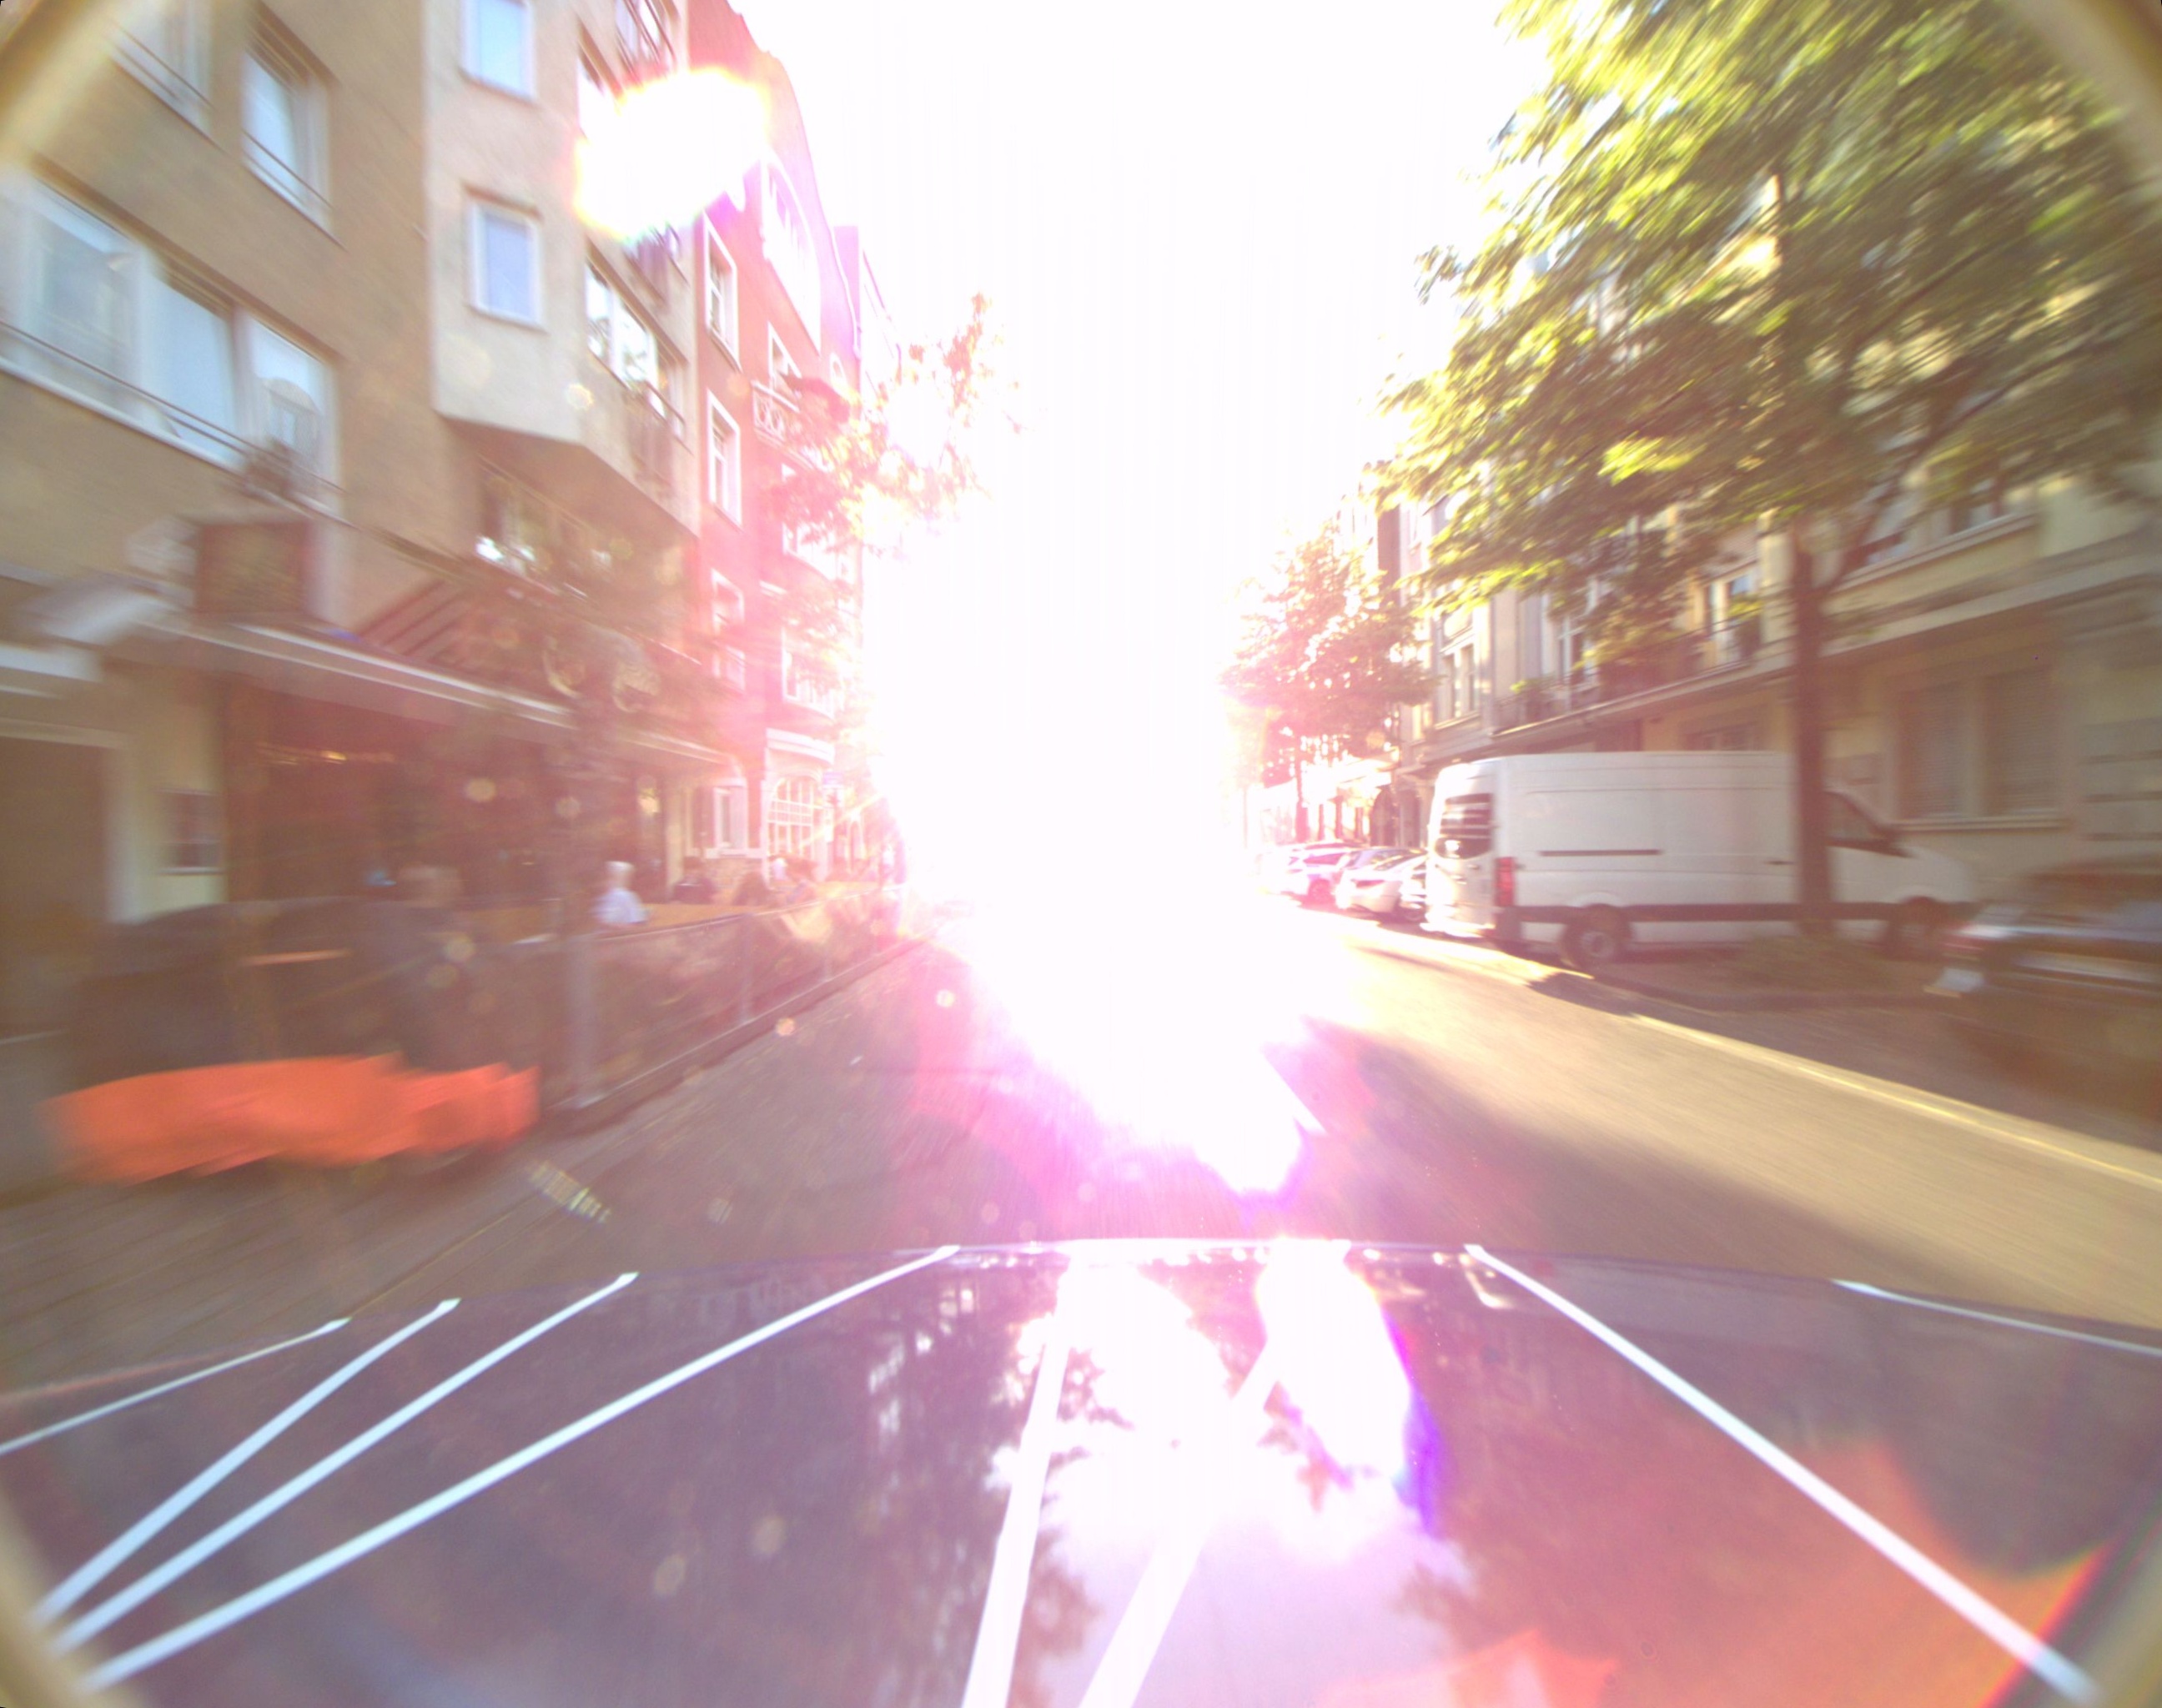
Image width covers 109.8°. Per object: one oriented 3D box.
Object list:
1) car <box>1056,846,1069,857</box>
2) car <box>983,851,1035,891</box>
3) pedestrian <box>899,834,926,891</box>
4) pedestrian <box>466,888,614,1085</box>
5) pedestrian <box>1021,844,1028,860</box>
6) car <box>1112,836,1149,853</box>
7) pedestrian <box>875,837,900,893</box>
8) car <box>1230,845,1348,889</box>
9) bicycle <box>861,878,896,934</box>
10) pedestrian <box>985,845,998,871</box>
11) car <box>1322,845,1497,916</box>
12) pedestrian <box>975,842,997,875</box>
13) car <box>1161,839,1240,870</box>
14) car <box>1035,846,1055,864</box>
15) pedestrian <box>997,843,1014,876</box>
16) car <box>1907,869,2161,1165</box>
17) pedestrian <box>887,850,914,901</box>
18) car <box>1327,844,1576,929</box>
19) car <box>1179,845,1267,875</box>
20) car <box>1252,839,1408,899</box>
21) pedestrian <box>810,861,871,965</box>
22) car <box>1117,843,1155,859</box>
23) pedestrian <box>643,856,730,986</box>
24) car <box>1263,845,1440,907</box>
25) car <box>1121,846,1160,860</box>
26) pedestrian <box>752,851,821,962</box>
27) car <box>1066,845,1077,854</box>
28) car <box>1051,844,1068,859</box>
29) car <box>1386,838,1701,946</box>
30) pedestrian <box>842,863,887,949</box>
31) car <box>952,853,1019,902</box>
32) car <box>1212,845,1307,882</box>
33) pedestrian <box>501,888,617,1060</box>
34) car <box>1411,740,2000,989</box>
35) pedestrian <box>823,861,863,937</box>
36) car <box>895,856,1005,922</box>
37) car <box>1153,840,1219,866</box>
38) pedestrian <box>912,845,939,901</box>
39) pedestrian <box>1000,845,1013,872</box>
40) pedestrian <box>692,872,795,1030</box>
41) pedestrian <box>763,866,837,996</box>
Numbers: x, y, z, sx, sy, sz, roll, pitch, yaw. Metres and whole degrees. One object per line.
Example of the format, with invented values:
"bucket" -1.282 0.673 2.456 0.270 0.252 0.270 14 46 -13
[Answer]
"car" -2.831 -0.388 117.947 1.759 1.639 3.793 3 1 0
"car" -2.972 0.654 32.187 1.727 1.484 4.751 2 1 0
"pedestrian" -5.603 0.281 25.310 0.627 1.857 0.976 2 1 0
"pedestrian" -3.684 0.871 5.214 0.579 1.237 0.603 1 1 1
"pedestrian" -5.978 -0.257 80.287 0.599 1.653 0.603 1 2 6
"car" 6.939 -1.342 106.104 4.782 2.344 2.152 -1 1 -27
"pedestrian" -6.427 0.349 25.250 0.590 1.799 0.835 2 1 0
"car" 7.786 0.464 28.678 3.926 1.440 1.696 -3 1 -2
"bicycle" -3.993 0.995 15.081 0.386 0.978 1.710 -1 1 -6
"pedestrian" -5.999 0.250 50.815 0.756 1.748 0.812 -1 1 0
"car" 7.786 0.595 18.279 3.415 1.501 1.847 -2 1 4
"pedestrian" -5.271 0.250 42.232 1.049 1.775 0.945 2 1 1
"car" 7.656 0.012 49.034 4.718 1.800 2.053 -2 1 1
"car" -3.499 0.065 74.642 1.759 1.639 3.793 3 1 0
"pedestrian" -4.201 0.307 42.237 0.731 1.775 0.870 3 1 1
"car" 7.432 0.807 4.105 3.997 1.396 1.749 -2 2 1
"pedestrian" -5.328 0.635 22.405 0.626 1.480 0.640 1 1 1
"car" 7.494 0.628 15.671 4.223 1.497 1.793 -2 1 0
"car" 7.637 0.325 41.112 4.393 1.415 1.822 -2 1 0
"car" 7.793 0.439 24.012 4.242 1.641 1.892 -2 1 -4
"pedestrian" -3.601 0.860 11.426 0.633 1.476 0.795 1 1 1
"car" 6.949 -0.355 95.994 4.579 1.922 1.896 -1 1 -37
"pedestrian" -4.414 0.727 8.538 0.579 1.377 0.718 1 1 1
"car" 7.430 0.582 21.187 4.197 1.474 1.970 -2 1 0
"car" 7.002 -0.108 89.171 4.579 1.548 1.809 -1 1 -37
"pedestrian" -4.399 0.756 11.396 0.709 1.589 0.795 1 1 1
"car" -1.698 -0.860 138.872 1.804 1.570 4.402 1 1 1
"car" -2.940 -0.381 105.506 1.867 1.900 4.256 3 1 3
"car" 7.800 0.606 13.169 4.223 1.591 1.975 -2 1 2
"pedestrian" -3.780 0.891 13.295 0.579 1.454 0.603 1 1 1
"car" -3.218 0.743 26.407 1.779 1.462 4.417 2 1 0
"car" 7.874 0.412 33.738 3.794 1.440 1.789 -2 1 3
"pedestrian" -4.501 1.007 6.586 0.579 1.377 0.603 1 1 1
"car" 7.546 0.117 9.695 5.672 2.606 2.171 -2 1 1
"pedestrian" -4.272 0.800 13.655 0.549 1.337 0.438 1 1 1
"car" -3.263 0.805 19.911 1.779 1.432 5.000 2 1 2
"car" 7.639 -0.097 55.767 4.567 1.772 1.946 -1 2 0
"pedestrian" -4.640 0.554 22.697 0.626 1.667 0.640 1 1 1
"pedestrian" -4.924 0.286 50.497 0.756 1.748 0.812 -1 1 0
"pedestrian" -2.998 0.833 6.798 0.579 1.312 0.704 1 1 1
"pedestrian" -3.128 0.838 8.495 0.579 1.377 0.603 1 1 1
